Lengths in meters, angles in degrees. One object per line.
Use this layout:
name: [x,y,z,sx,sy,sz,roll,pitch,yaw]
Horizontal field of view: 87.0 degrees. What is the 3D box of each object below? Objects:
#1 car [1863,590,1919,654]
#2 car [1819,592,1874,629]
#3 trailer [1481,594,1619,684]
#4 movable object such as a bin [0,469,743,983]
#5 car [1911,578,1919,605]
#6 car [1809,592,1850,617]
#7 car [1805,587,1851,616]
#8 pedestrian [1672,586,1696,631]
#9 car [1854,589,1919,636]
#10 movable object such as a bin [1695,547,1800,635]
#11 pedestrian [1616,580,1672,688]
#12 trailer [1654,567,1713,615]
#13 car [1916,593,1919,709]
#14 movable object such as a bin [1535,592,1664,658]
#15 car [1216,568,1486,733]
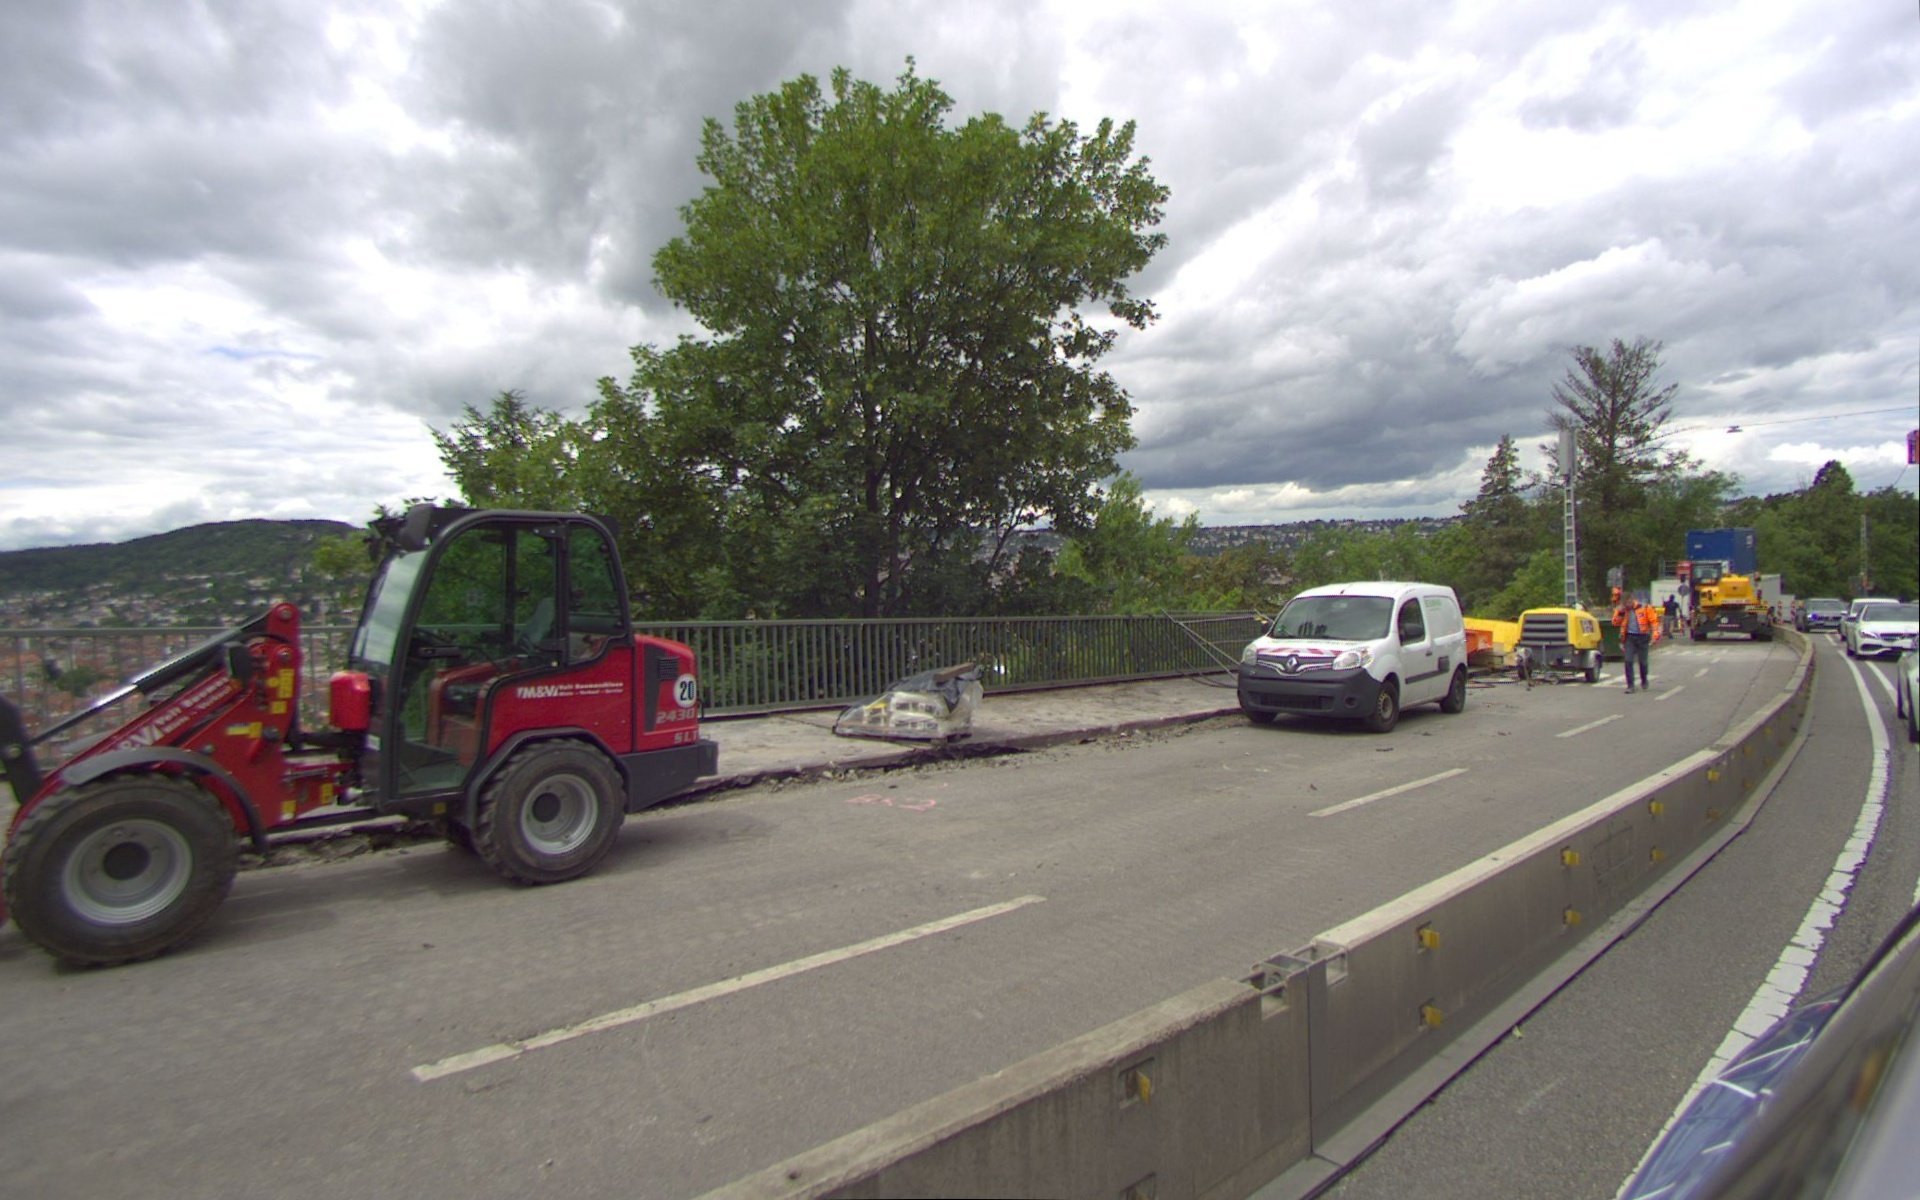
car: [24.156,0.515,25.694,1.786,1.499,4.180,-1,-1,42]
car: [41.109,0.439,47.002,1.793,1.529,3.942,3,3,40]
trailer: [10.951,0.654,18.686,3.574,1.494,1.289,0,-1,-44]
movable object such as a bin: [-3.374,0.484,5.320,4.094,1.967,1.703,0,-1,-43]
car: [59.342,-0.490,61.759,1.842,1.620,4.195,0,0,45]
car: [57.881,0.271,67.332,1.795,1.529,3.937,4,3,44]
car: [50.629,0.060,59.006,1.795,1.529,3.937,4,3,44]
pedestrian: [29.697,0.361,41.519,0.684,1.818,0.534,0,-1,28]
car: [33.052,0.421,36.008,1.786,1.570,4.182,1,0,41]
movable object such as a bin: [30.701,-0.309,39.707,2.802,3.110,7.723,-1,-1,35]
pedestrian: [11.272,0.544,16.675,0.644,1.723,0.838,-2,-2,39]
trailer: [41.601,-0.512,58.156,2.107,2.581,5.039,3,2,43]
car: [11.790,0.656,11.101,1.786,1.499,4.179,-1,-1,43]
movable object such as a bin: [17.645,0.585,27.728,2.368,1.581,7.003,-1,0,37]
car: [5.213,0.549,13.198,1.832,1.802,4.201,0,0,44]
